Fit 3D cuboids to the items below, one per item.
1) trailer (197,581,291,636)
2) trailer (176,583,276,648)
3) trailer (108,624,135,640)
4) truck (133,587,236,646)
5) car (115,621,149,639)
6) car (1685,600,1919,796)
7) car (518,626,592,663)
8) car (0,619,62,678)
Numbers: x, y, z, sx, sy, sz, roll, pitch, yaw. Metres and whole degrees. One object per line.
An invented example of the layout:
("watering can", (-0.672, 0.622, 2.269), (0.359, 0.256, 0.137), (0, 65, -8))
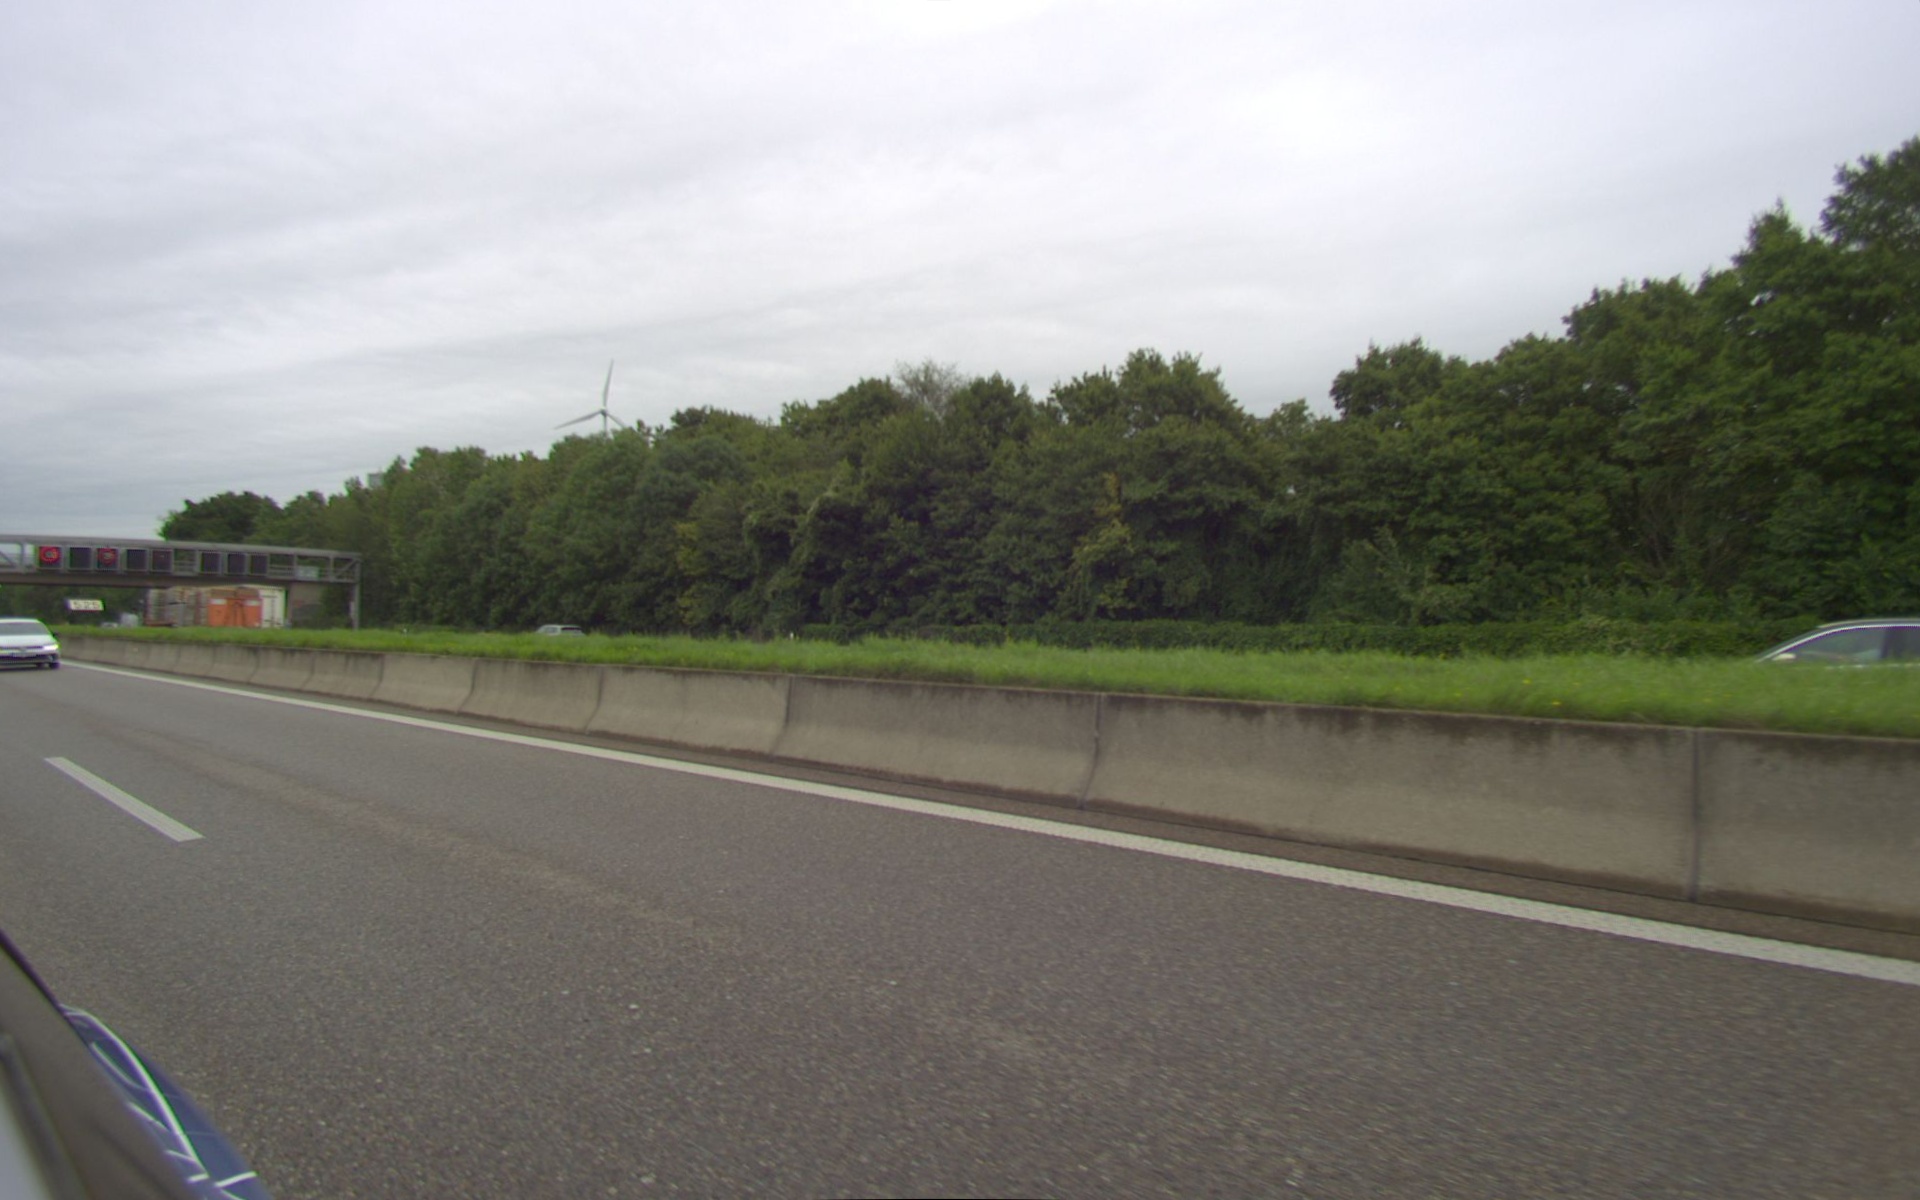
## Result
("trailer", (-49.688, 0.578, 70.041), (11.865, 3.567, 2.658), (-1, 0, 41))
("trailer", (-42.278, 0.839, 58.179), (8.316, 3.485, 2.901), (-1, 0, 41))
("trailer", (-109.516, 4.140, 132.160), (5.177, 2.029, 1.972), (-1, 0, 43))
("truck", (-49.652, 0.999, 64.633), (11.178, 3.492, 2.921), (-1, 0, 41))
("car", (-98.069, 3.518, 119.851), (6.063, 2.100, 2.173), (-1, 0, 41))
("car", (10.470, 1.013, 11.054), (3.998, 2.029, 1.603), (-1, -1, 42))
("car", (-21.470, 2.331, 53.541), (4.304, 1.802, 1.972), (-1, 0, 43))
("car", (-27.871, 1.376, 29.643), (4.661, 1.630, 1.735), (-1, -2, 41))
